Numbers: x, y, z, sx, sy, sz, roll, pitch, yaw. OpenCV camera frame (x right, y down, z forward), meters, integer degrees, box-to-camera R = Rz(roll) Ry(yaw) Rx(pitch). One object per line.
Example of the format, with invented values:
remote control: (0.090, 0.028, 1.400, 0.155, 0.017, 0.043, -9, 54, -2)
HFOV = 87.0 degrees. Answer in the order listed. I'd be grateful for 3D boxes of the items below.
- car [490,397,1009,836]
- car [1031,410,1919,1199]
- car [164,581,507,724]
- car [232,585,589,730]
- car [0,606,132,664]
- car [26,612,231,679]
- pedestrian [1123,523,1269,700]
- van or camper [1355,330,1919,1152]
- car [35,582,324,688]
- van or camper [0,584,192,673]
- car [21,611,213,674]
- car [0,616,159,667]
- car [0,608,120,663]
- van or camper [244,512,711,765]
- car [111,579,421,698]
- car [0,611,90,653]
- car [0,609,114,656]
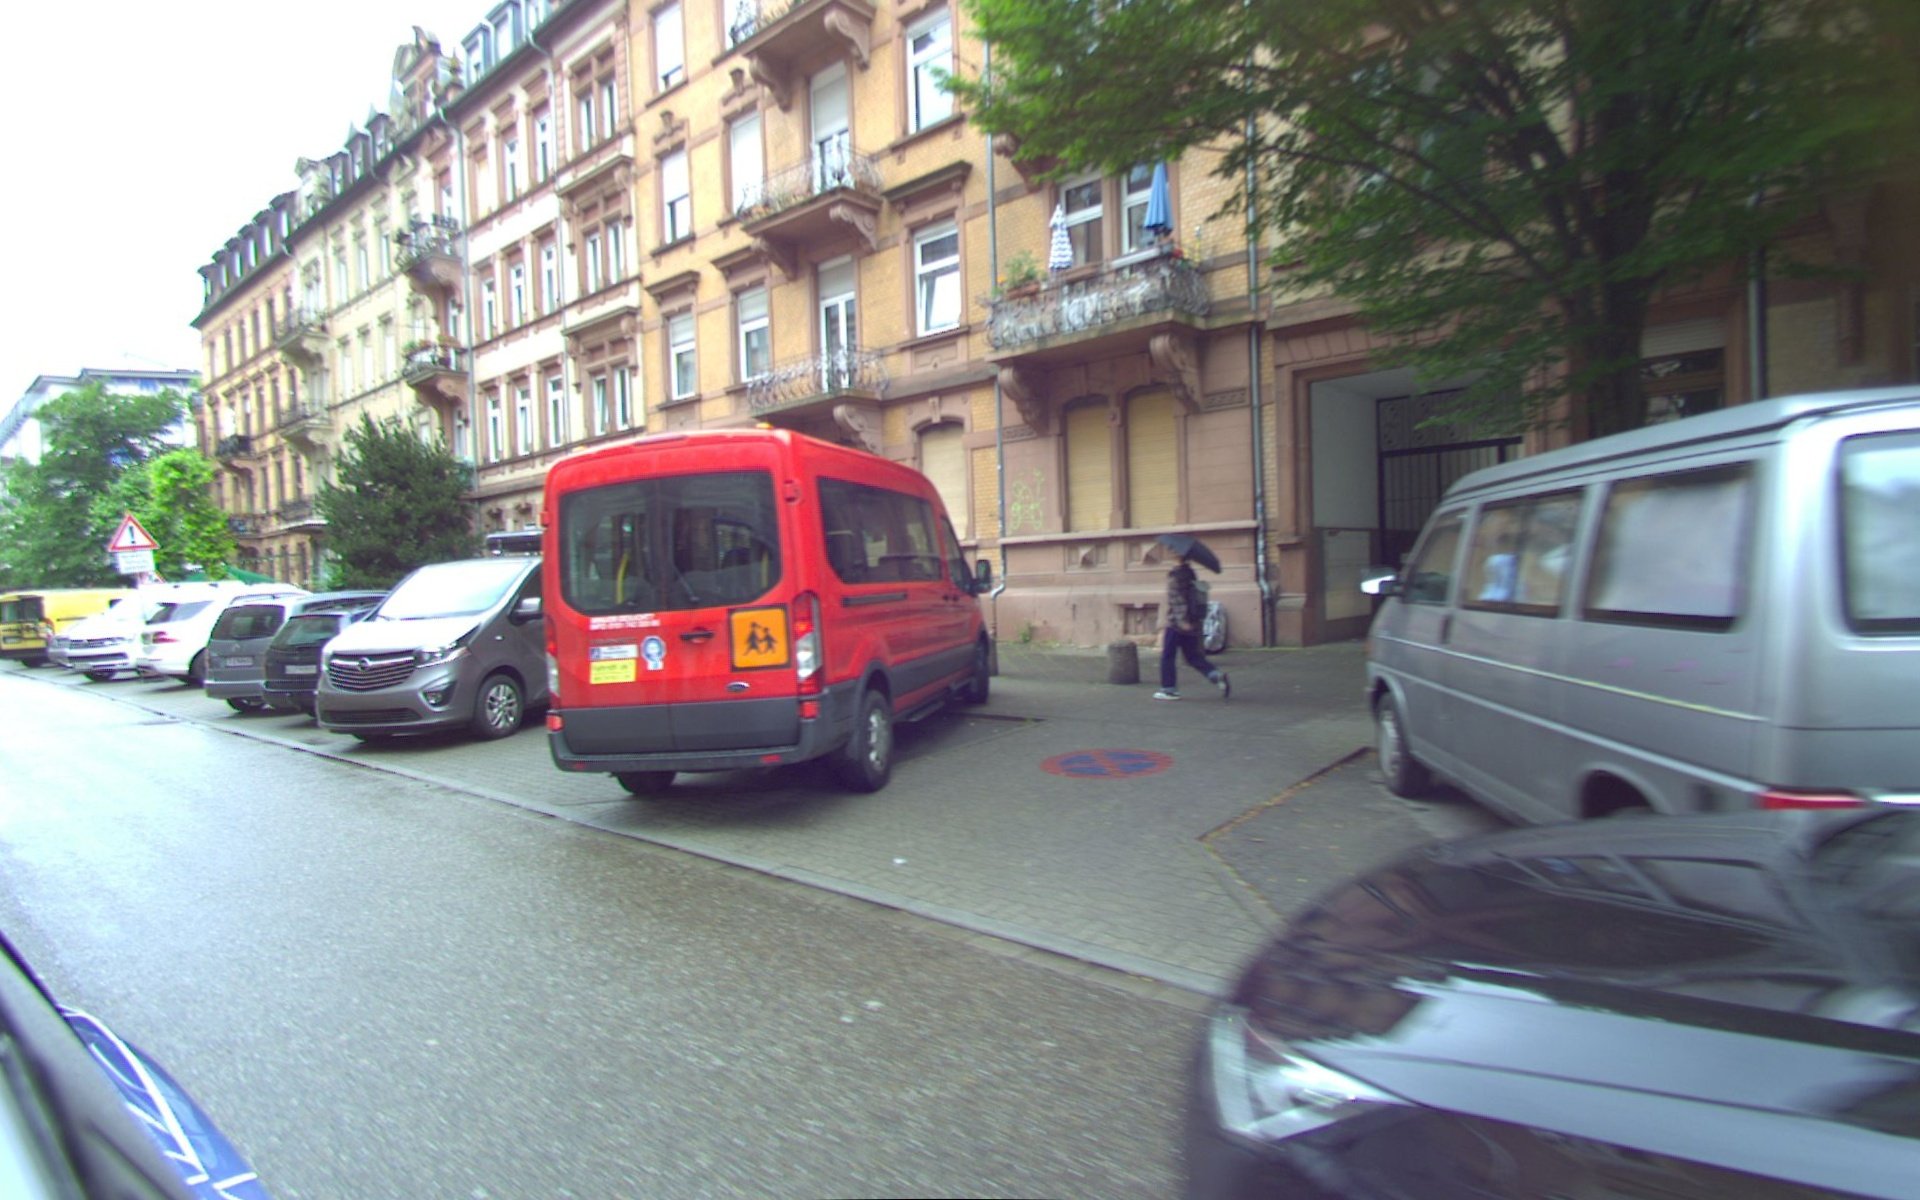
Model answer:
car: (-1.223, 0.060, 8.878, 2.207, 2.560, 5.550, -2, 1, 14)
car: (2.176, 0.591, 0.716, 3.999, 1.571, 1.653, -1, 1, 39)
car: (-9.400, 0.687, 15.759, 1.827, 1.642, 4.425, -3, 3, 15)
car: (-7.438, 0.686, 14.280, 1.741, 1.515, 4.331, -3, 2, 19)
car: (-32.987, 1.238, 36.967, 1.778, 1.674, 4.133, -2, 4, 5)
car: (-22.103, 1.162, 27.110, 1.766, 1.446, 3.984, -2, 1, 13)
pedestrian: (2.387, 0.102, 10.208, 1.088, 1.641, 0.893, -2, 4, 36)
van or camper: (3.270, 0.196, 4.515, 1.761, 1.989, 4.439, -2, 3, 8)
car: (-17.946, 0.697, 23.682, 1.854, 2.093, 5.226, -1, 2, 17)
van or camper: (-26.640, 0.796, 30.965, 2.160, 2.284, 4.715, -4, 3, 9)
car: (-24.144, 1.169, 29.181, 1.942, 1.506, 3.907, -2, 1, 10)
car: (-28.935, 1.333, 33.228, 1.807, 1.506, 3.988, -2, -1, 9)
car: (-35.270, 1.336, 39.155, 1.778, 1.674, 4.133, -3, 4, 5)
van or camper: (-5.326, 0.327, 12.192, 2.323, 2.366, 5.002, -2, 1, 15)
car: (-13.746, 0.668, 20.249, 2.544, 1.798, 4.533, -1, 4, 40)
car: (-42.888, 1.442, 46.347, 1.975, 1.575, 4.453, -1, 3, 5)
car: (-39.262, 1.394, 43.175, 1.976, 1.574, 4.716, -4, 3, 7)
